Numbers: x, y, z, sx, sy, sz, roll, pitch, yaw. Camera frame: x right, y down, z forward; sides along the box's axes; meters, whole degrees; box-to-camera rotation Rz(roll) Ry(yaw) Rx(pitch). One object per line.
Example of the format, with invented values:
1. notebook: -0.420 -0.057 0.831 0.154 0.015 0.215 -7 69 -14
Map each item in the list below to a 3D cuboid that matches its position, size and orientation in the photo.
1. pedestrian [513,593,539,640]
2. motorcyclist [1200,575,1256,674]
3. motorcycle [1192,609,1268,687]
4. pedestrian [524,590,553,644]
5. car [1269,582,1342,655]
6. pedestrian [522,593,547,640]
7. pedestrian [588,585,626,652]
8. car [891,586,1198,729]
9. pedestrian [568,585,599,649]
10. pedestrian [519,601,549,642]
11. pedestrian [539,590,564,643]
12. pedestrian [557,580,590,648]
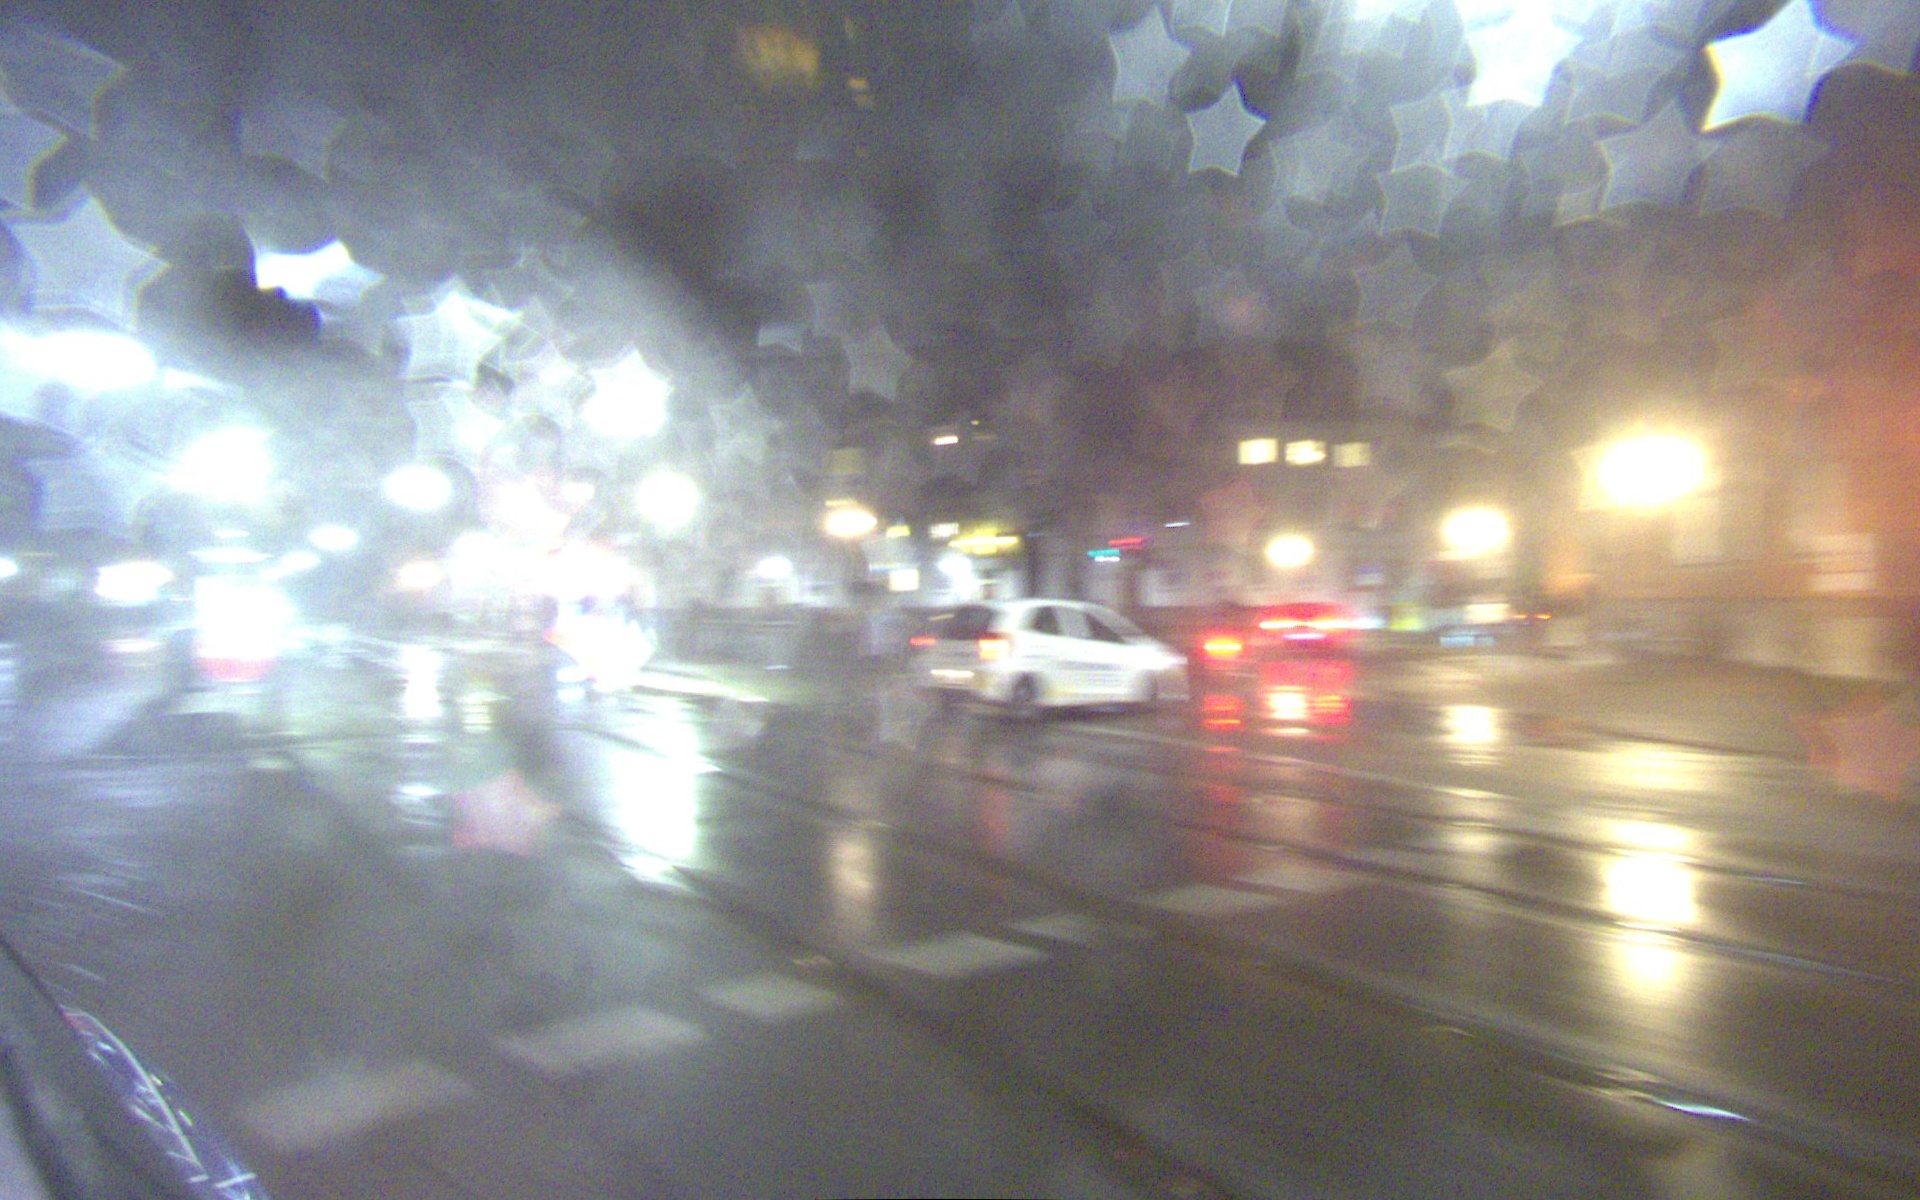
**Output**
1. pedestrian: -14.602 0.542 34.061 0.574 1.559 0.505 -1 3 36
2. motorcyclist: 4.789 0.418 18.044 0.789 1.707 0.812 0 2 30
3. motorcycle: 4.894 0.817 18.228 0.789 1.222 2.228 0 2 29
4. pedestrian: -13.376 0.521 32.107 0.554 1.664 0.583 -2 2 11
5. car: 9.383 0.433 27.344 1.741 1.752 3.773 0 2 21
6. pedestrian: -14.172 0.547 33.676 0.585 1.539 0.474 -1 3 36
7. pedestrian: -9.615 0.495 27.575 0.717 1.787 0.661 0 3 44
8. car: 1.128 0.610 12.965 3.540 1.527 1.929 -1 1 -38
9. pedestrian: -10.906 0.468 29.286 0.705 1.787 0.673 -3 2 -26
10. pedestrian: -13.814 0.697 32.831 0.617 1.263 0.583 -2 2 11
11. pedestrian: -12.839 0.510 31.838 0.527 1.641 0.399 -2 2 11
12. pedestrian: -11.759 0.415 30.779 0.600 2.001 0.860 -4 3 -39
